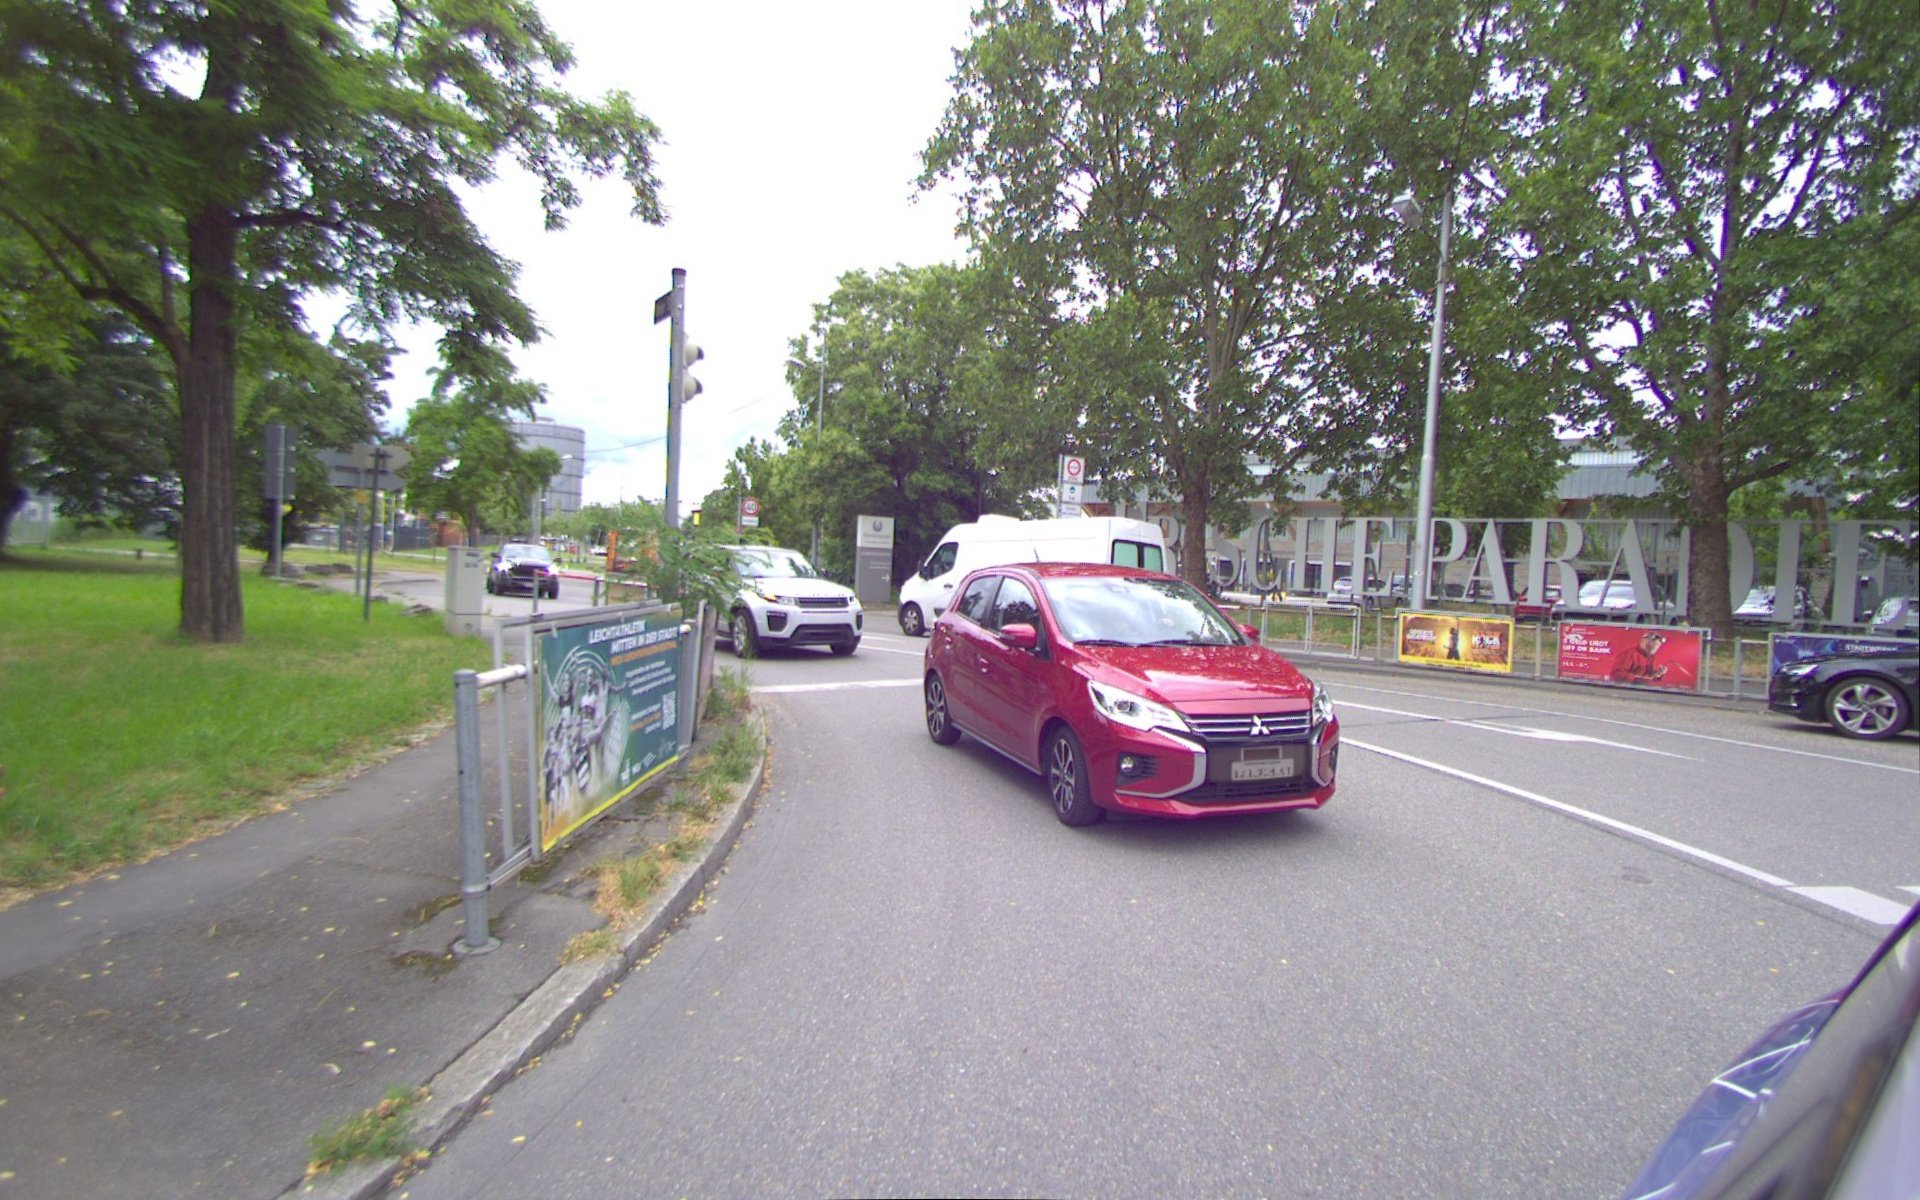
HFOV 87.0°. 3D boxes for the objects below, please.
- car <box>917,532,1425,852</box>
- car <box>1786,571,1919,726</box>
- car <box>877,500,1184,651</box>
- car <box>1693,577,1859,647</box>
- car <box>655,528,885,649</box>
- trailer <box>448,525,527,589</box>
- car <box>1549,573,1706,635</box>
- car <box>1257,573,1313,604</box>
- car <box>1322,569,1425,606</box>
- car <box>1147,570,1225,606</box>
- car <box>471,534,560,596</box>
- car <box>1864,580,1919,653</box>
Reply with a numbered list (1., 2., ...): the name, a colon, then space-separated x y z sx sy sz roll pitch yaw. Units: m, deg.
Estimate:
1. car: 1.066 0.385 6.949 1.731 1.549 3.749 1 2 -18
2. car: 11.200 0.672 9.387 1.966 1.475 5.213 5 0 -43
3. car: 1.175 -0.434 20.352 2.156 2.573 6.469 0 0 -43
4. car: 19.137 0.227 23.668 4.614 1.476 1.999 -1 0 -37
5. car: -3.078 -0.110 15.756 1.881 1.590 4.111 3 -2 -36
6. trailer: -19.685 -1.816 42.053 2.109 2.416 5.392 2 2 -34
7. car: 17.378 0.058 26.275 4.614 1.476 1.999 -1 0 -37
8. car: 19.074 -0.672 59.266 1.748 1.705 3.515 0 0 44
9. car: 17.537 -0.525 42.817 5.160 1.449 1.936 -1 1 -41
10. car: 11.020 -0.576 49.232 1.911 1.526 3.937 5 3 43
11. car: -16.507 -1.356 37.373 1.914 2.003 5.875 0 4 -35
12. car: 21.226 0.310 21.883 4.619 1.476 1.996 -1 1 -42
